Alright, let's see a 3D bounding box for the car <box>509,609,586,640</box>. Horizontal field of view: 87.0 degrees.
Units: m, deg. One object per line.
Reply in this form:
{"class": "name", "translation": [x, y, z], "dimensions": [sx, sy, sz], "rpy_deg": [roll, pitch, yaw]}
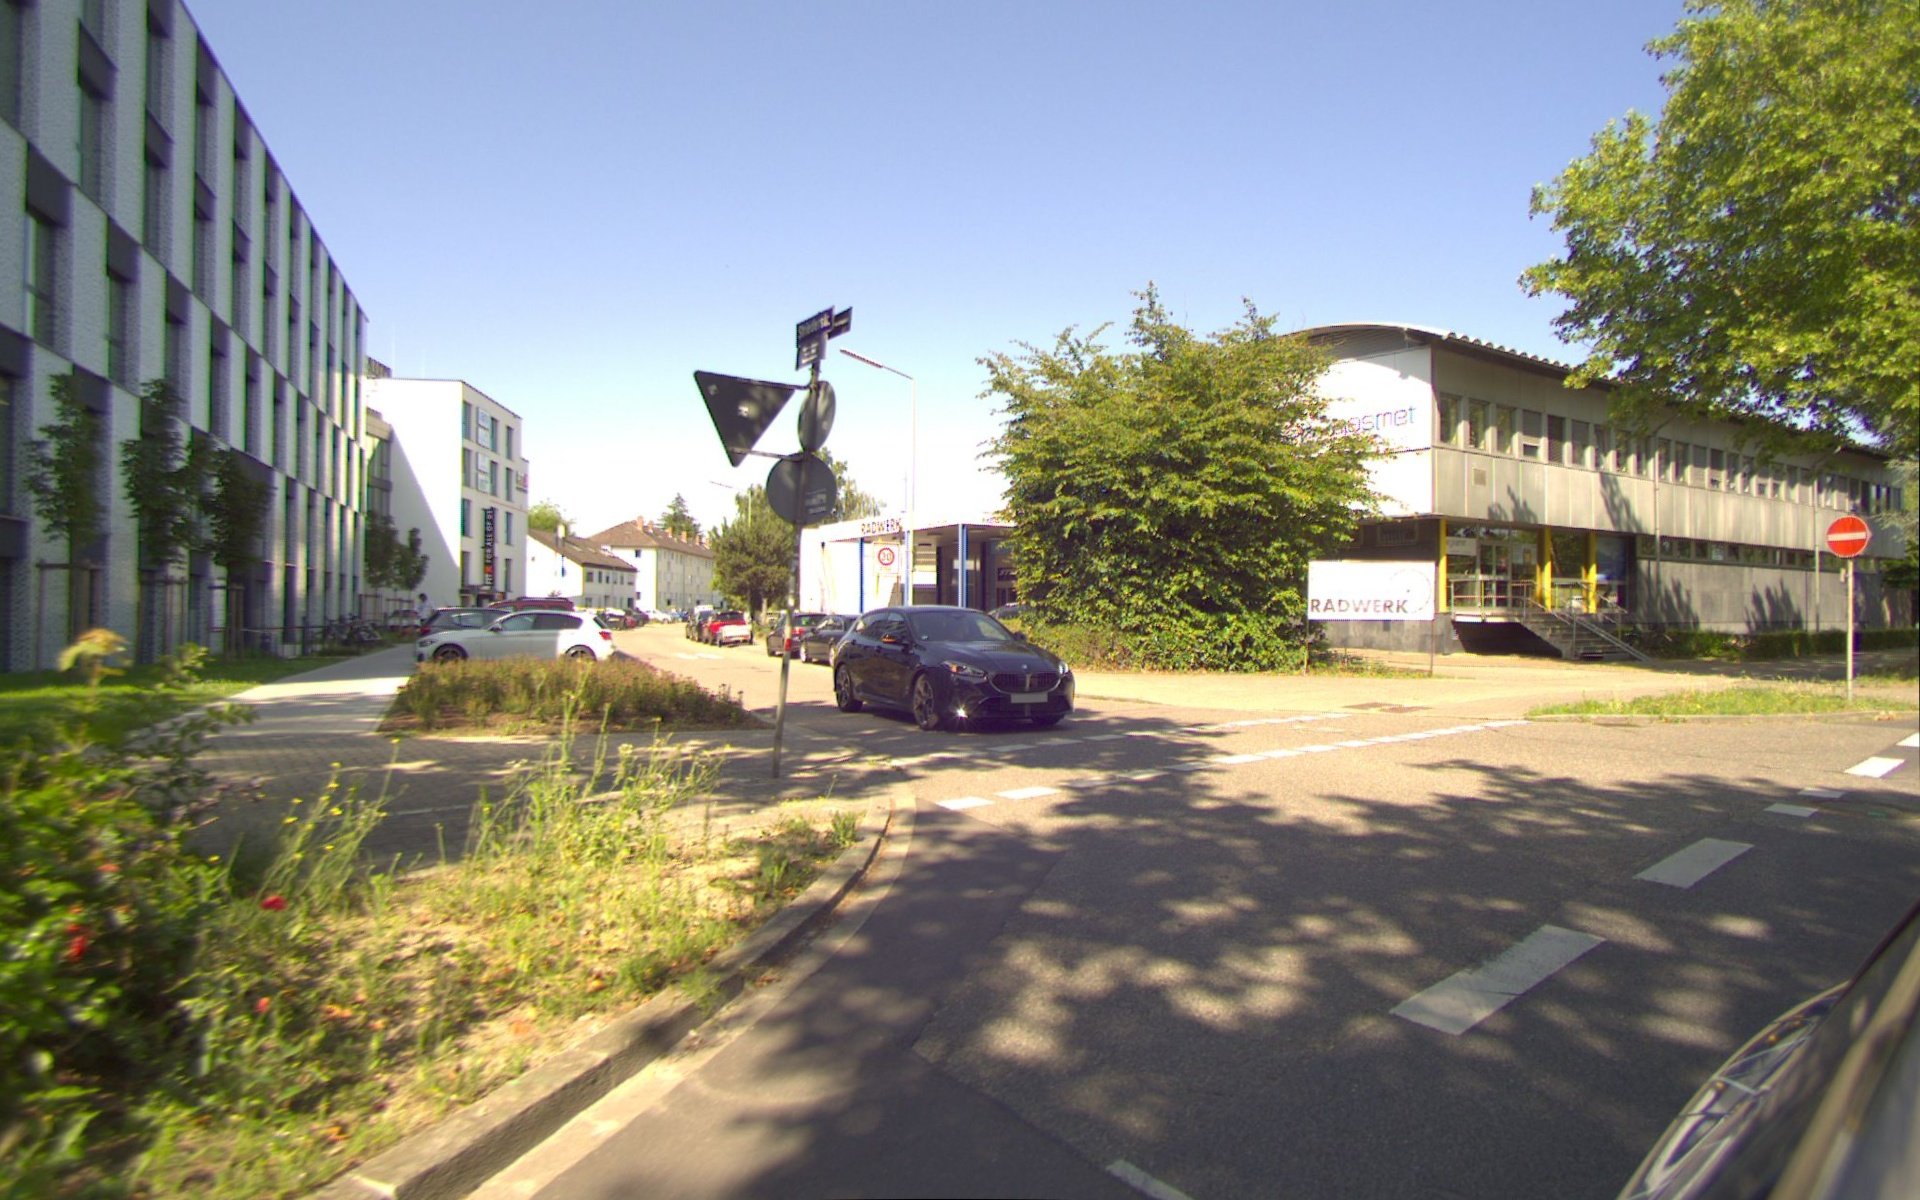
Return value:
{"class": "car", "translation": [-20.730, 1.216, 50.880], "dimensions": [3.458, 1.454, 1.651], "rpy_deg": [1, 0, -25]}

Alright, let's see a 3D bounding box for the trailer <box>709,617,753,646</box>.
{"class": "trailer", "translation": [-10.131, 1.356, 44.634], "dimensions": [1.564, 1.195, 3.234], "rpy_deg": [0, -1, -19]}

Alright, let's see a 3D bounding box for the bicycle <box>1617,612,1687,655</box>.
{"class": "bicycle", "translation": [20.174, 0.955, 29.537], "dimensions": [0.498, 1.144, 1.679], "rpy_deg": [0, 1, -23]}

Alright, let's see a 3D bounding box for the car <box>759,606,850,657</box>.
{"class": "car", "translation": [-5.179, 1.008, 33.276], "dimensions": [1.958, 1.572, 4.006], "rpy_deg": [1, -1, -24]}

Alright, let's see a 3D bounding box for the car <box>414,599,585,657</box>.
{"class": "car", "translation": [-13.334, 0.802, 29.496], "dimensions": [4.387, 1.572, 2.003], "rpy_deg": [0, -1, -24]}

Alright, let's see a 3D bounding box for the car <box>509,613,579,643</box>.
{"class": "car", "translation": [-19.831, 1.323, 48.216], "dimensions": [3.063, 1.357, 1.479], "rpy_deg": [0, 0, -24]}

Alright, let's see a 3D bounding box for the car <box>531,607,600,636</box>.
{"class": "car", "translation": [-23.524, 1.280, 60.465], "dimensions": [3.713, 1.481, 1.861], "rpy_deg": [3, -1, -19]}

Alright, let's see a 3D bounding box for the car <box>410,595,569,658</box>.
{"class": "car", "translation": [-14.695, 0.816, 31.800], "dimensions": [4.387, 1.876, 2.003], "rpy_deg": [0, -1, -24]}

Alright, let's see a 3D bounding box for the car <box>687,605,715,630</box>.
{"class": "car", "translation": [-20.580, 1.393, 80.518], "dimensions": [1.658, 1.906, 3.713], "rpy_deg": [-1, -2, -6]}

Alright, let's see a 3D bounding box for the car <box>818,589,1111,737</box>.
{"class": "car", "translation": [-0.152, 0.680, 12.902], "dimensions": [1.959, 1.537, 4.267], "rpy_deg": [0, -1, -27]}

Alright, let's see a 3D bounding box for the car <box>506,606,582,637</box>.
{"class": "car", "translation": [-21.902, 1.111, 53.320], "dimensions": [3.629, 1.505, 1.709], "rpy_deg": [0, 0, -24]}

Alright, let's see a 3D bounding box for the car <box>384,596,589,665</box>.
{"class": "car", "translation": [-11.594, 0.747, 25.027], "dimensions": [4.387, 1.572, 2.003], "rpy_deg": [1, -2, -24]}

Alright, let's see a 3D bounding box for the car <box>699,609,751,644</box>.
{"class": "car", "translation": [-11.122, 1.231, 47.737], "dimensions": [1.958, 1.537, 4.270], "rpy_deg": [0, -1, -19]}

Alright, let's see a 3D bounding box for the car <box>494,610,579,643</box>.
{"class": "car", "translation": [-19.246, 1.189, 45.958], "dimensions": [3.458, 1.395, 1.651], "rpy_deg": [1, 0, -25]}

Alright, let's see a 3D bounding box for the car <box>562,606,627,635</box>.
{"class": "car", "translation": [-27.436, 1.558, 76.107], "dimensions": [4.306, 1.986, 1.860], "rpy_deg": [3, -2, -12]}

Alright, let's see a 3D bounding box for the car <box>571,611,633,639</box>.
{"class": "car", "translation": [-28.283, 1.953, 80.130], "dimensions": [4.306, 1.986, 1.860], "rpy_deg": [3, -2, -12]}

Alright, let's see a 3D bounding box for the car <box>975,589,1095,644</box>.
{"class": "car", "translation": [2.345, 0.524, 32.276], "dimensions": [3.677, 1.683, 1.681], "rpy_deg": [0, 0, -1]}

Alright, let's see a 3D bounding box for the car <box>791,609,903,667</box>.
{"class": "car", "translation": [-3.212, 1.010, 28.074], "dimensions": [1.832, 1.416, 4.062], "rpy_deg": [-1, 0, -25]}

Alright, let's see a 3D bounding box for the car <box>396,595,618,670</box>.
{"class": "car", "translation": [-10.153, 0.731, 22.931], "dimensions": [4.387, 1.572, 2.003], "rpy_deg": [1, -2, -24]}
